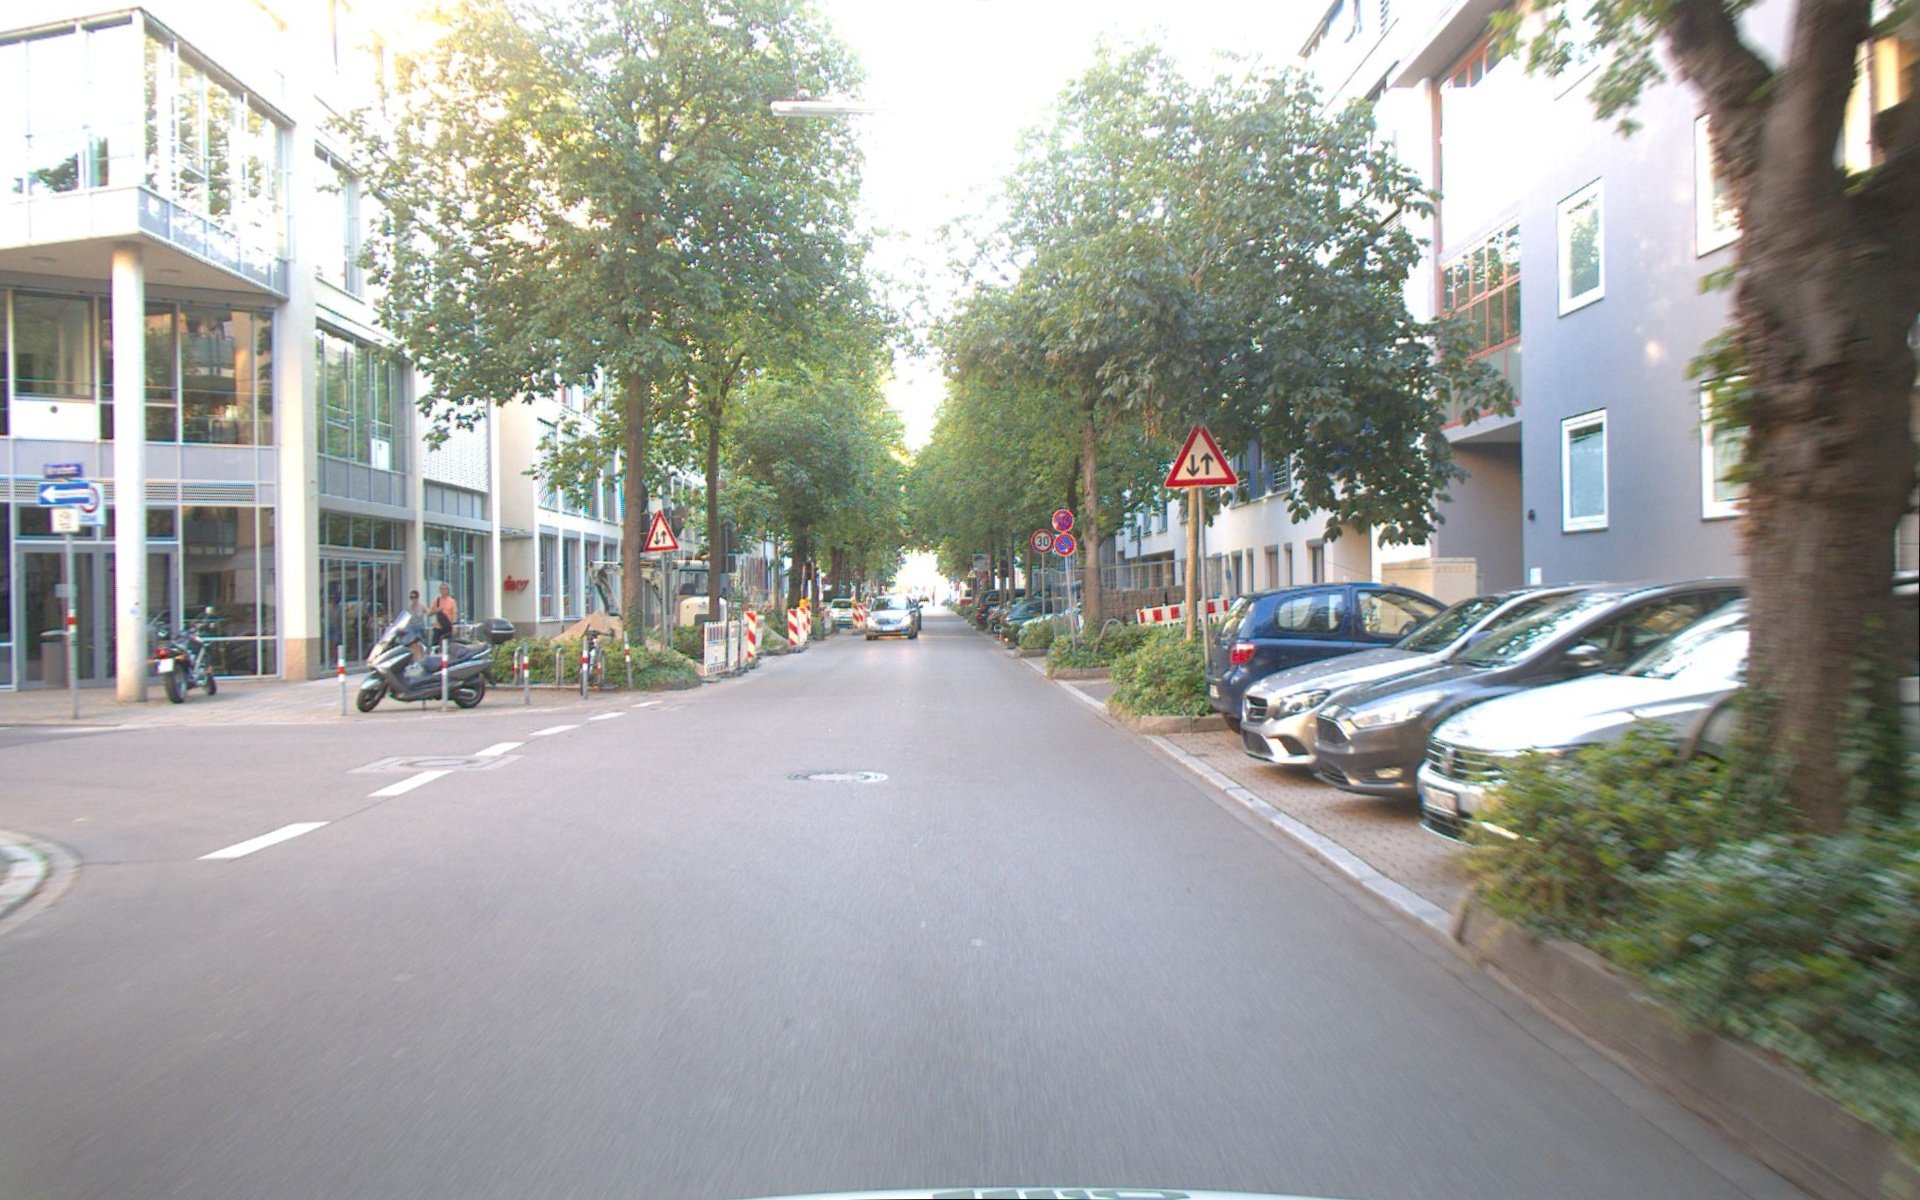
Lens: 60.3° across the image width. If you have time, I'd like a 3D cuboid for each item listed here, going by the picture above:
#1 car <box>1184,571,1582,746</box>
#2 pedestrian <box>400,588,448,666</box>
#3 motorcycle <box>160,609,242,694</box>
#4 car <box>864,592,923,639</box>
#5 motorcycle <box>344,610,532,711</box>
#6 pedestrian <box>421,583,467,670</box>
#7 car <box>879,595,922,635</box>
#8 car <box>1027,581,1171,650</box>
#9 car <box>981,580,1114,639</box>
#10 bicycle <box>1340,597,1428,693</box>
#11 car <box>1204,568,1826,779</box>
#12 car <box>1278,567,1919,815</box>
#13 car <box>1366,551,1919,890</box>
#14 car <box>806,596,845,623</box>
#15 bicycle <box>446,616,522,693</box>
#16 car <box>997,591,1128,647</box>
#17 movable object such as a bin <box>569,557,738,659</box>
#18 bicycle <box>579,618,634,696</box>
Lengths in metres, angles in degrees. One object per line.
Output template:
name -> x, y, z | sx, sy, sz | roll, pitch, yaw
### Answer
car -> 4.108, 0.545, 16.474 | 3.467, 1.591, 1.831 | -1, 0, -2
pedestrian -> -10.931, 0.546, 33.744 | 0.754, 1.562, 0.642 | -1, 0, -1
motorcycle -> -11.490, 0.753, 25.101 | 0.546, 1.192, 2.302 | -1, 1, -10
car -> -2.496, 0.554, 61.456 | 1.971, 1.641, 4.115 | -1, 1, -5
motorcycle -> -7.419, 0.822, 23.572 | 2.336, 1.304, 1.051 | -1, 1, -42
pedestrian -> -10.394, 0.527, 33.315 | 0.724, 1.720, 0.607 | -1, 0, 0
car -> -2.695, 0.667, 76.055 | 1.910, 1.744, 4.701 | 0, 0, -2
car -> 3.852, 0.432, 46.225 | 3.904, 1.836, 2.001 | -1, 0, 2
car -> 3.138, 0.328, 59.804 | 4.643, 2.049, 1.999 | 0, 0, -2
bicycle -> 5.845, 0.596, 22.886 | 0.811, 1.256, 1.804 | -1, 0, 3
car -> 4.463, 0.563, 13.822 | 4.528, 1.598, 2.010 | 0, 0, -2
car -> 4.730, 0.567, 11.434 | 4.684, 1.547, 1.991 | 0, 0, 0
car -> 4.699, 0.523, 8.831 | 4.529, 1.529, 1.960 | -2, 0, -3
car -> -7.060, 0.480, 86.545 | 1.955, 1.310, 3.996 | -1, 0, -5
bicycle -> -7.813, 0.878, 27.232 | 0.669, 1.173, 1.981 | -1, 1, 0
car -> 3.097, 0.572, 50.785 | 3.905, 1.612, 2.000 | -1, 0, 0
movable object such as a bin -> -7.661, 0.166, 41.789 | 3.969, 2.424, 2.780 | -1, 1, -7
bicycle -> -5.819, 0.917, 27.300 | 0.670, 1.173, 1.978 | -1, 1, -6
